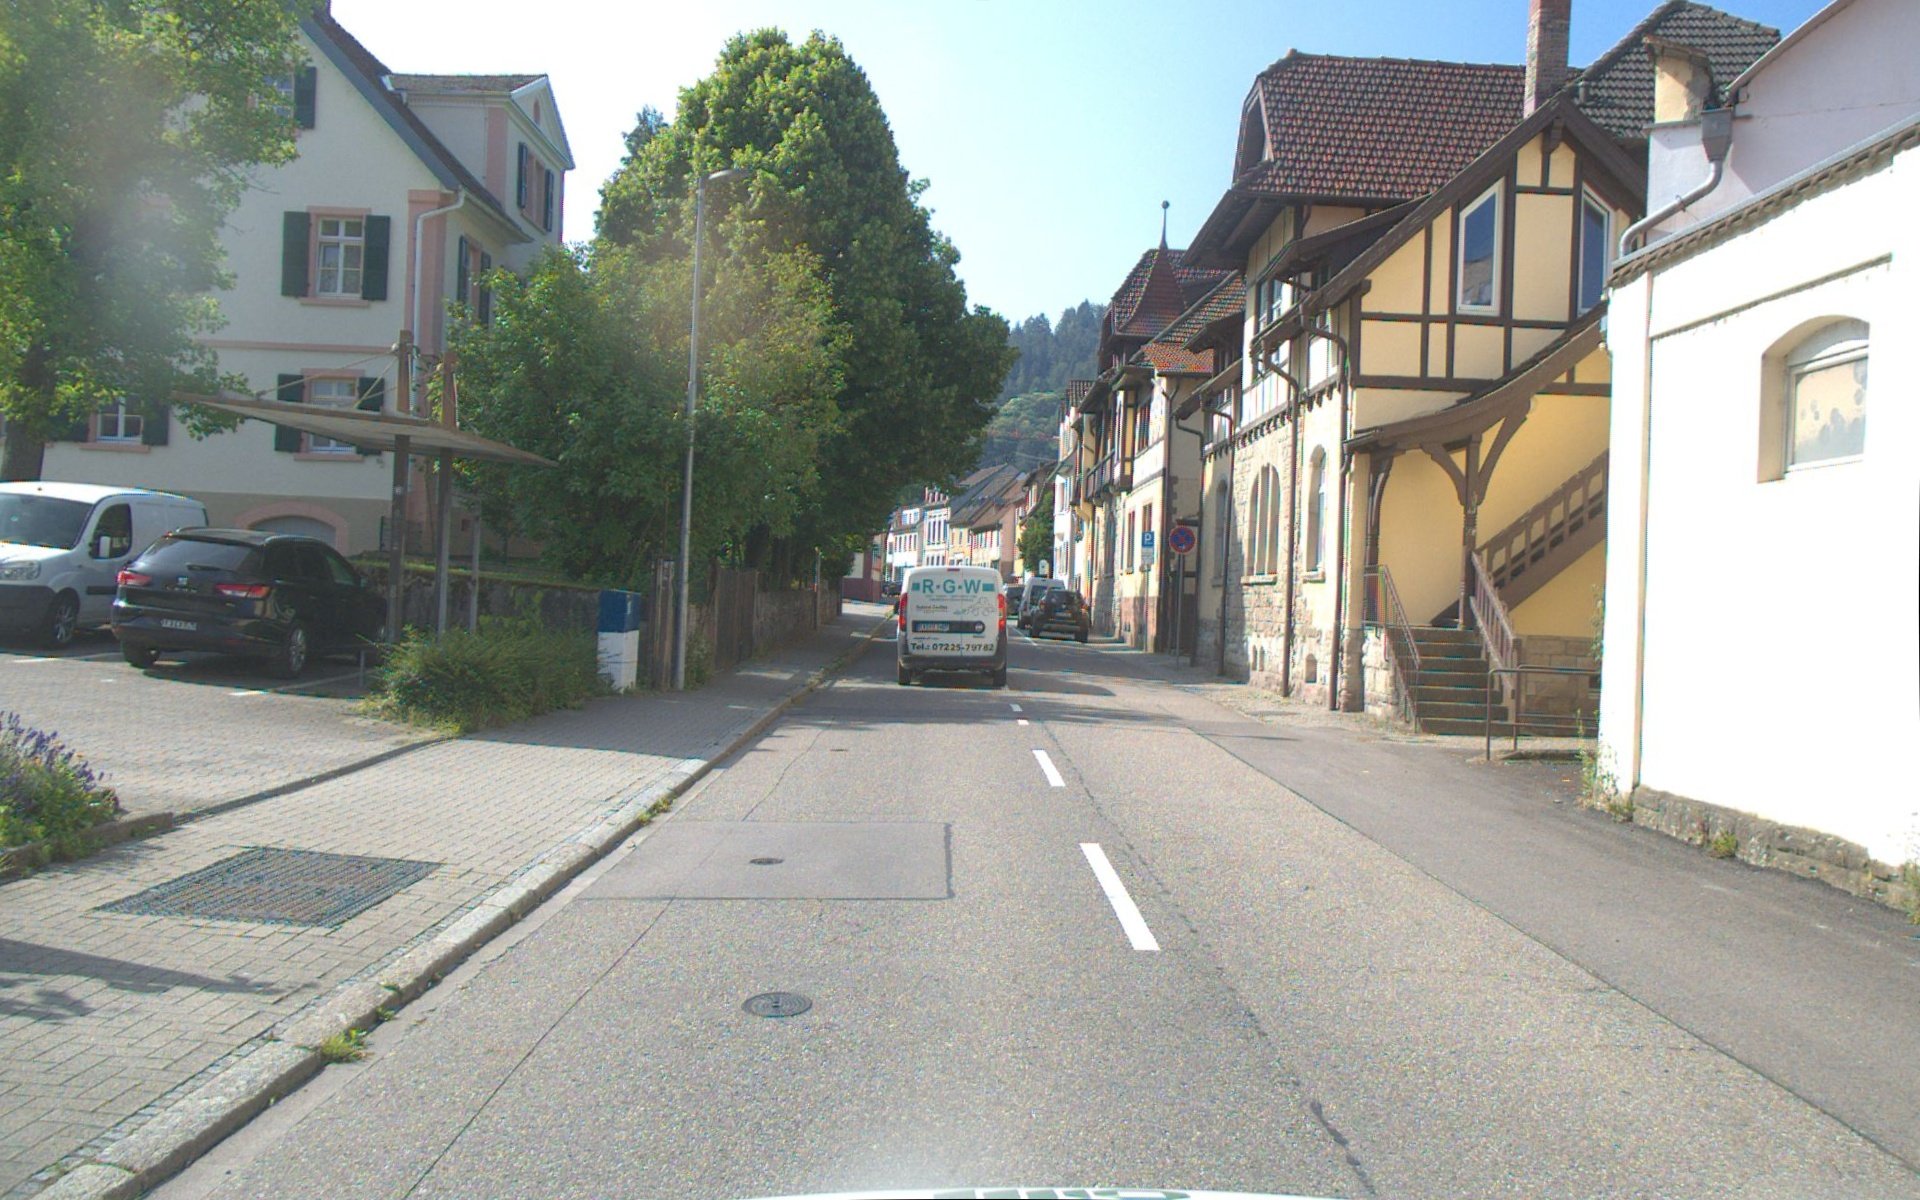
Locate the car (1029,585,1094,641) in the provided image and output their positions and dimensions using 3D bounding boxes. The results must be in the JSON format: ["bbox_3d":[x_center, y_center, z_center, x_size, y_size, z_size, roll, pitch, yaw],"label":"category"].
[{"bbox_3d":[3.283,0.394,54.224,1.774,1.624,3.927,4,1,0],"label":"car"}]

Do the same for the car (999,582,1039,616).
[{"bbox_3d":[2.867,-0.066,80.796,1.636,1.534,3.998,1,0,-2],"label":"car"}]

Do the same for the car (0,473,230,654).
[{"bbox_3d":[-10.366,-0.464,19.111,1.787,1.802,4.680,6,0,-2],"label":"car"}]

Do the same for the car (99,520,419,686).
[{"bbox_3d":[-7.497,-0.009,18.183,1.582,1.487,4.394,4,1,-1],"label":"car"}]

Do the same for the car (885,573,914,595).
[{"bbox_3d":[-5.737,-1.556,157.051,1.959,1.813,3.988,4,1,-13],"label":"car"}]

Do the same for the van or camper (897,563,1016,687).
[{"bbox_3d":[-0.115,0.371,27.391,1.791,1.876,4.187,1,0,-2],"label":"van or camper"}]

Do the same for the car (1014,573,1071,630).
[{"bbox_3d":[3.181,0.050,64.358,1.833,2.048,3.999,3,0,-1],"label":"car"}]

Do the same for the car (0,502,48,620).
[{"bbox_3d":[-12.718,-0.532,19.376,1.778,1.447,4.000,5,1,-1],"label":"car"}]
